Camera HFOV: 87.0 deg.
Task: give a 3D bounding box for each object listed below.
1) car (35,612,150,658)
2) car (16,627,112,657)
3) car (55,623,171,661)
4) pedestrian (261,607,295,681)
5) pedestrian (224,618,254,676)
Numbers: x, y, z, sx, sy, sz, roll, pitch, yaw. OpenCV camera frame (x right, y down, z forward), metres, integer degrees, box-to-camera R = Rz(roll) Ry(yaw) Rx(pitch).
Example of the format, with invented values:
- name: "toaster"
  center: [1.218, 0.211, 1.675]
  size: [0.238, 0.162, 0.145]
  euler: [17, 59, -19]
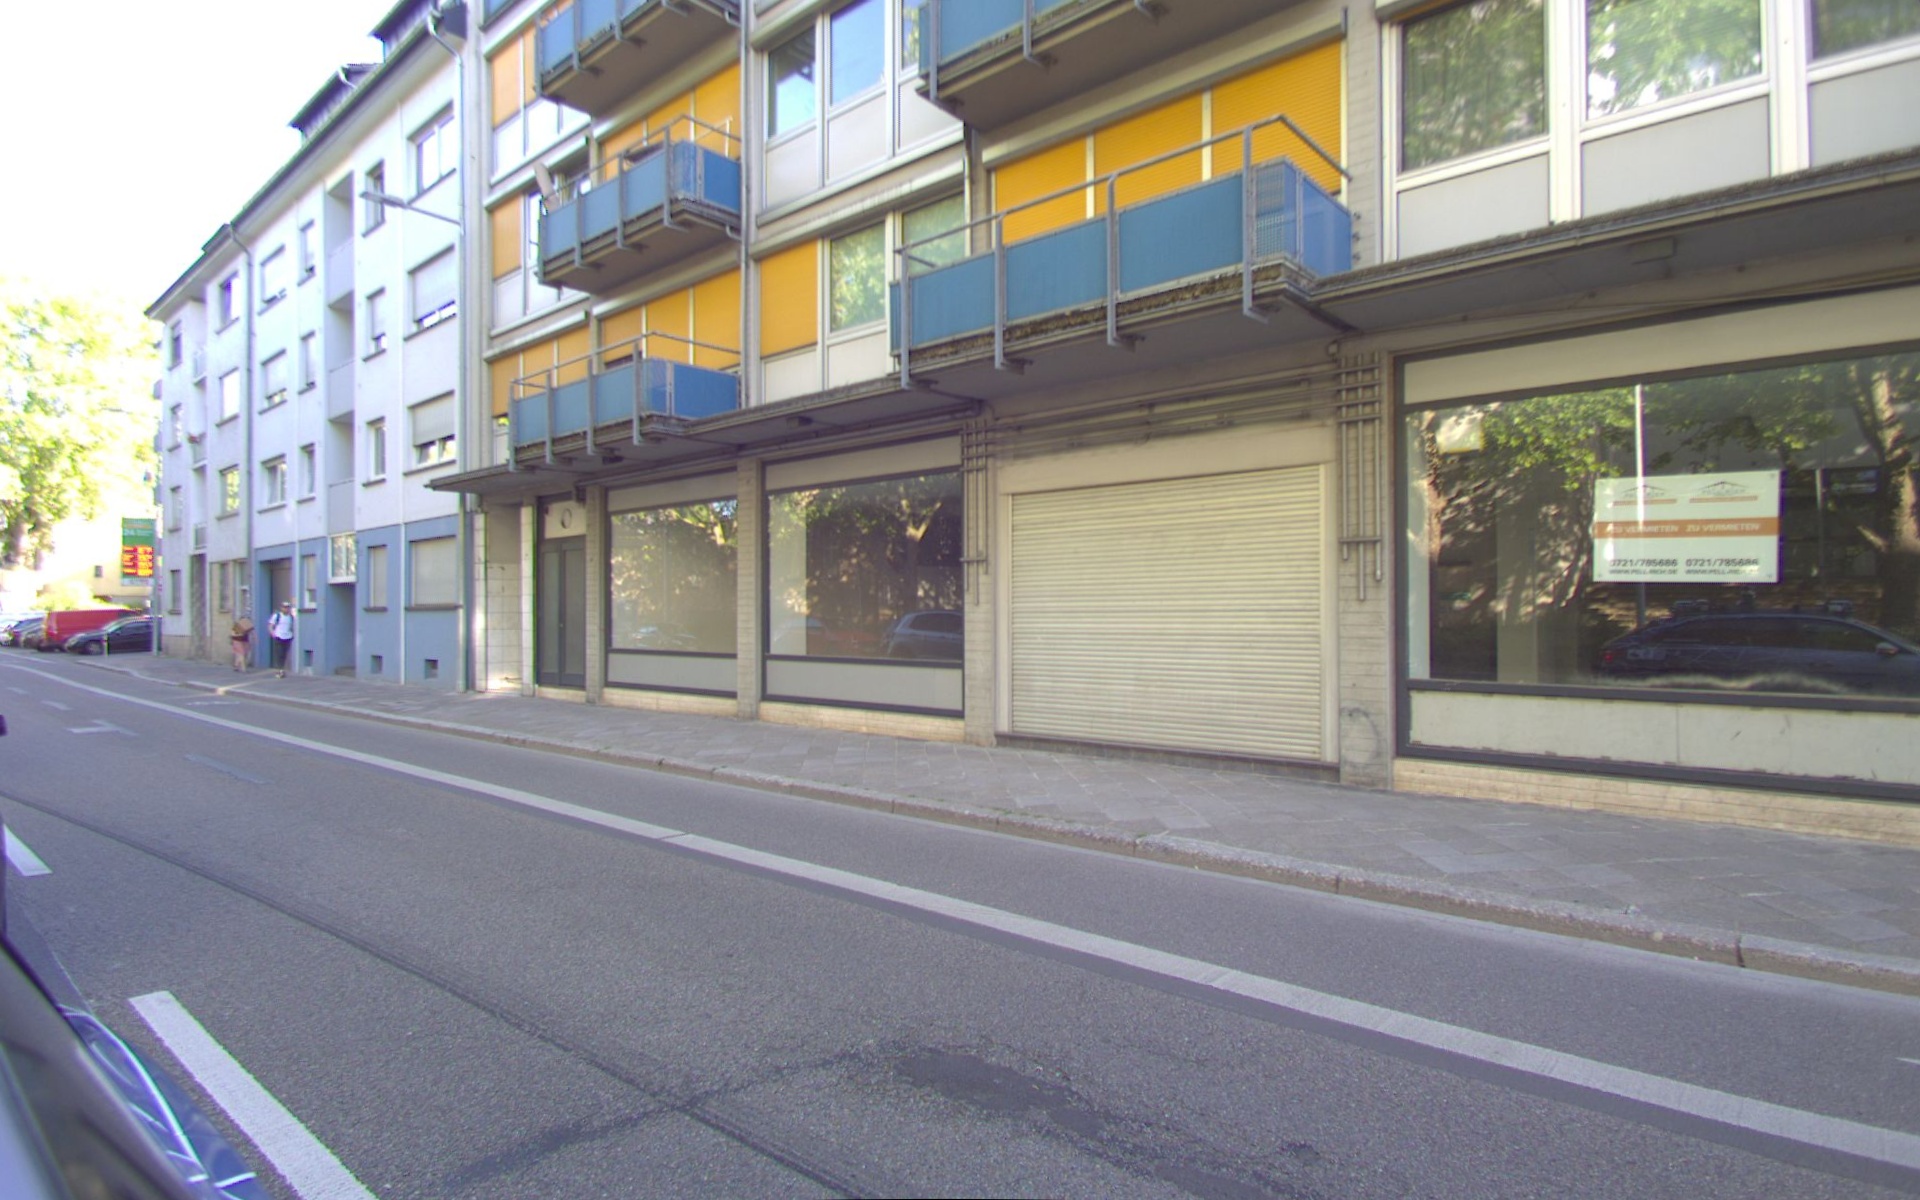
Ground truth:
- name: "car"
  center: [-40.566, 1.584, 47.369]
  size: [1.635, 1.937, 3.878]
  euler: [-1, 0, 41]
- name: "car"
  center: [-42.992, 2.003, 48.605]
  size: [1.294, 1.258, 3.283]
  euler: [-1, 0, 41]
- name: "car"
  center: [-36.656, 1.771, 43.849]
  size: [1.635, 1.422, 3.623]
  euler: [-1, 0, 41]
- name: "pedestrian"
  center: [-16.434, 1.059, 24.401]
  size: [0.343, 1.739, 0.562]
  euler: [-2, 0, 41]
- name: "pedestrian"
  center: [-19.466, 1.270, 27.340]
  size: [0.343, 1.529, 0.562]
  euler: [-2, 0, 41]
